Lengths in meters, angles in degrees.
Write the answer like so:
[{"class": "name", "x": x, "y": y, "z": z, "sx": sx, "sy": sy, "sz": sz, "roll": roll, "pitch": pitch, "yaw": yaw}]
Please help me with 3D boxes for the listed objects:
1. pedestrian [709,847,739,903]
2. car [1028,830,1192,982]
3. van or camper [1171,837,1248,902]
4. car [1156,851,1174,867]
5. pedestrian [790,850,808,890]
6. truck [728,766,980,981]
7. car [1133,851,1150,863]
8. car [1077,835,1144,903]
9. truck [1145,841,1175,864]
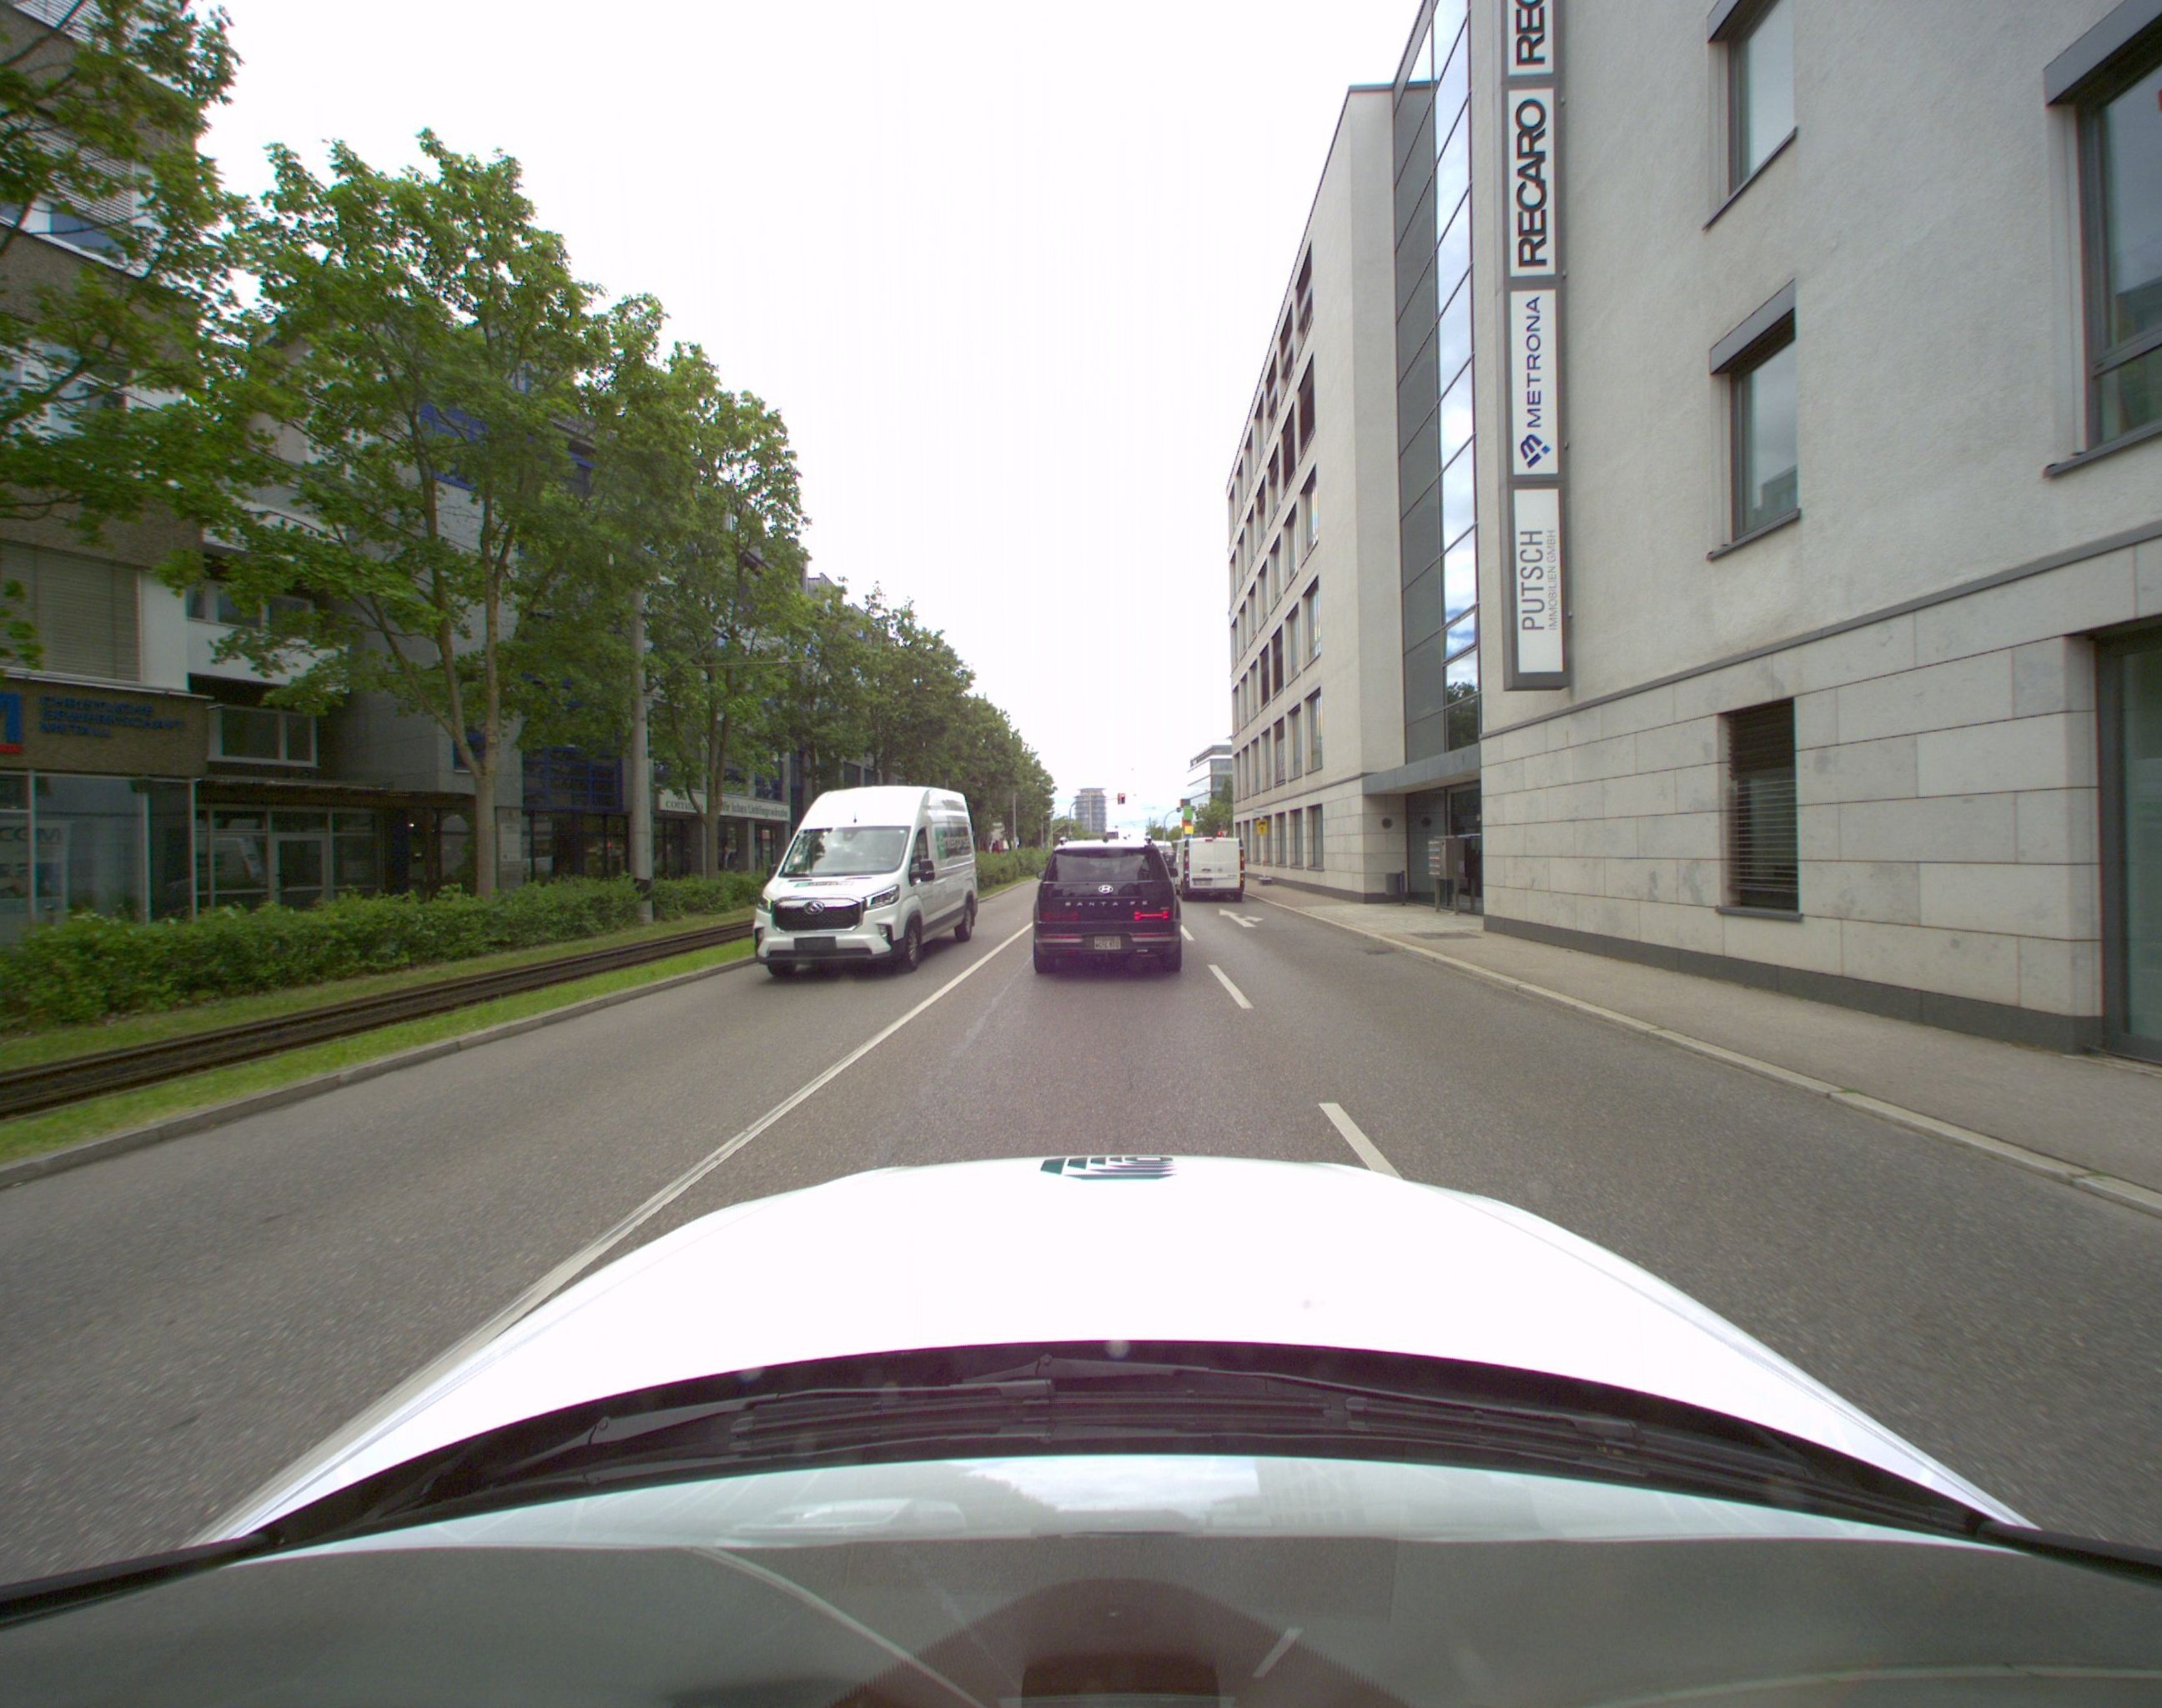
[{"class": "pedestrian", "x": -12.420, "y": 0.721, "z": 28.340, "sx": 0.672, "sy": 1.908, "sz": 0.622, "roll": -3, "pitch": -1, "yaw": 3}, {"class": "car", "x": 0.333, "y": 0.615, "z": 11.743, "sx": 1.903, "sy": 1.749, "sz": 4.395, "roll": -1, "pitch": 0, "yaw": 0}, {"class": "van or camper", "x": 4.045, "y": 0.436, "z": 26.222, "sx": 1.985, "sy": 1.915, "sz": 4.335, "roll": 0, "pitch": 0, "yaw": 3}, {"class": "car", "x": 8.522, "y": 0.485, "z": 83.062, "sx": 1.751, "sy": 1.609, "sz": 4.195, "roll": -1, "pitch": 0, "yaw": 6}, {"class": "pedestrian", "x": -14.425, "y": 0.824, "z": 41.666, "sx": 0.678, "sy": 2.013, "sz": 0.571, "roll": -2, "pitch": 0, "yaw": 2}, {"class": "truck", "x": -3.180, "y": 0.238, "z": 12.988, "sx": 2.157, "sy": 2.615, "sz": 5.798, "roll": -1, "pitch": 0, "yaw": 2}, {"class": "car", "x": 8.464, "y": 0.428, "z": 113.661, "sx": 1.988, "sy": 1.618, "sz": 3.998, "roll": -2, "pitch": 0, "yaw": -1}, {"class": "car", "x": 0.876, "y": 0.443, "z": 26.828, "sx": 1.926, "sy": 1.994, "sz": 4.533, "roll": -1, "pitch": 0, "yaw": -1}, {"class": "truck", "x": 9.817, "y": -0.149, "z": 101.588, "sx": 2.329, "sy": 2.748, "sz": 6.471, "roll": -2, "pitch": 0, "yaw": -7}]
